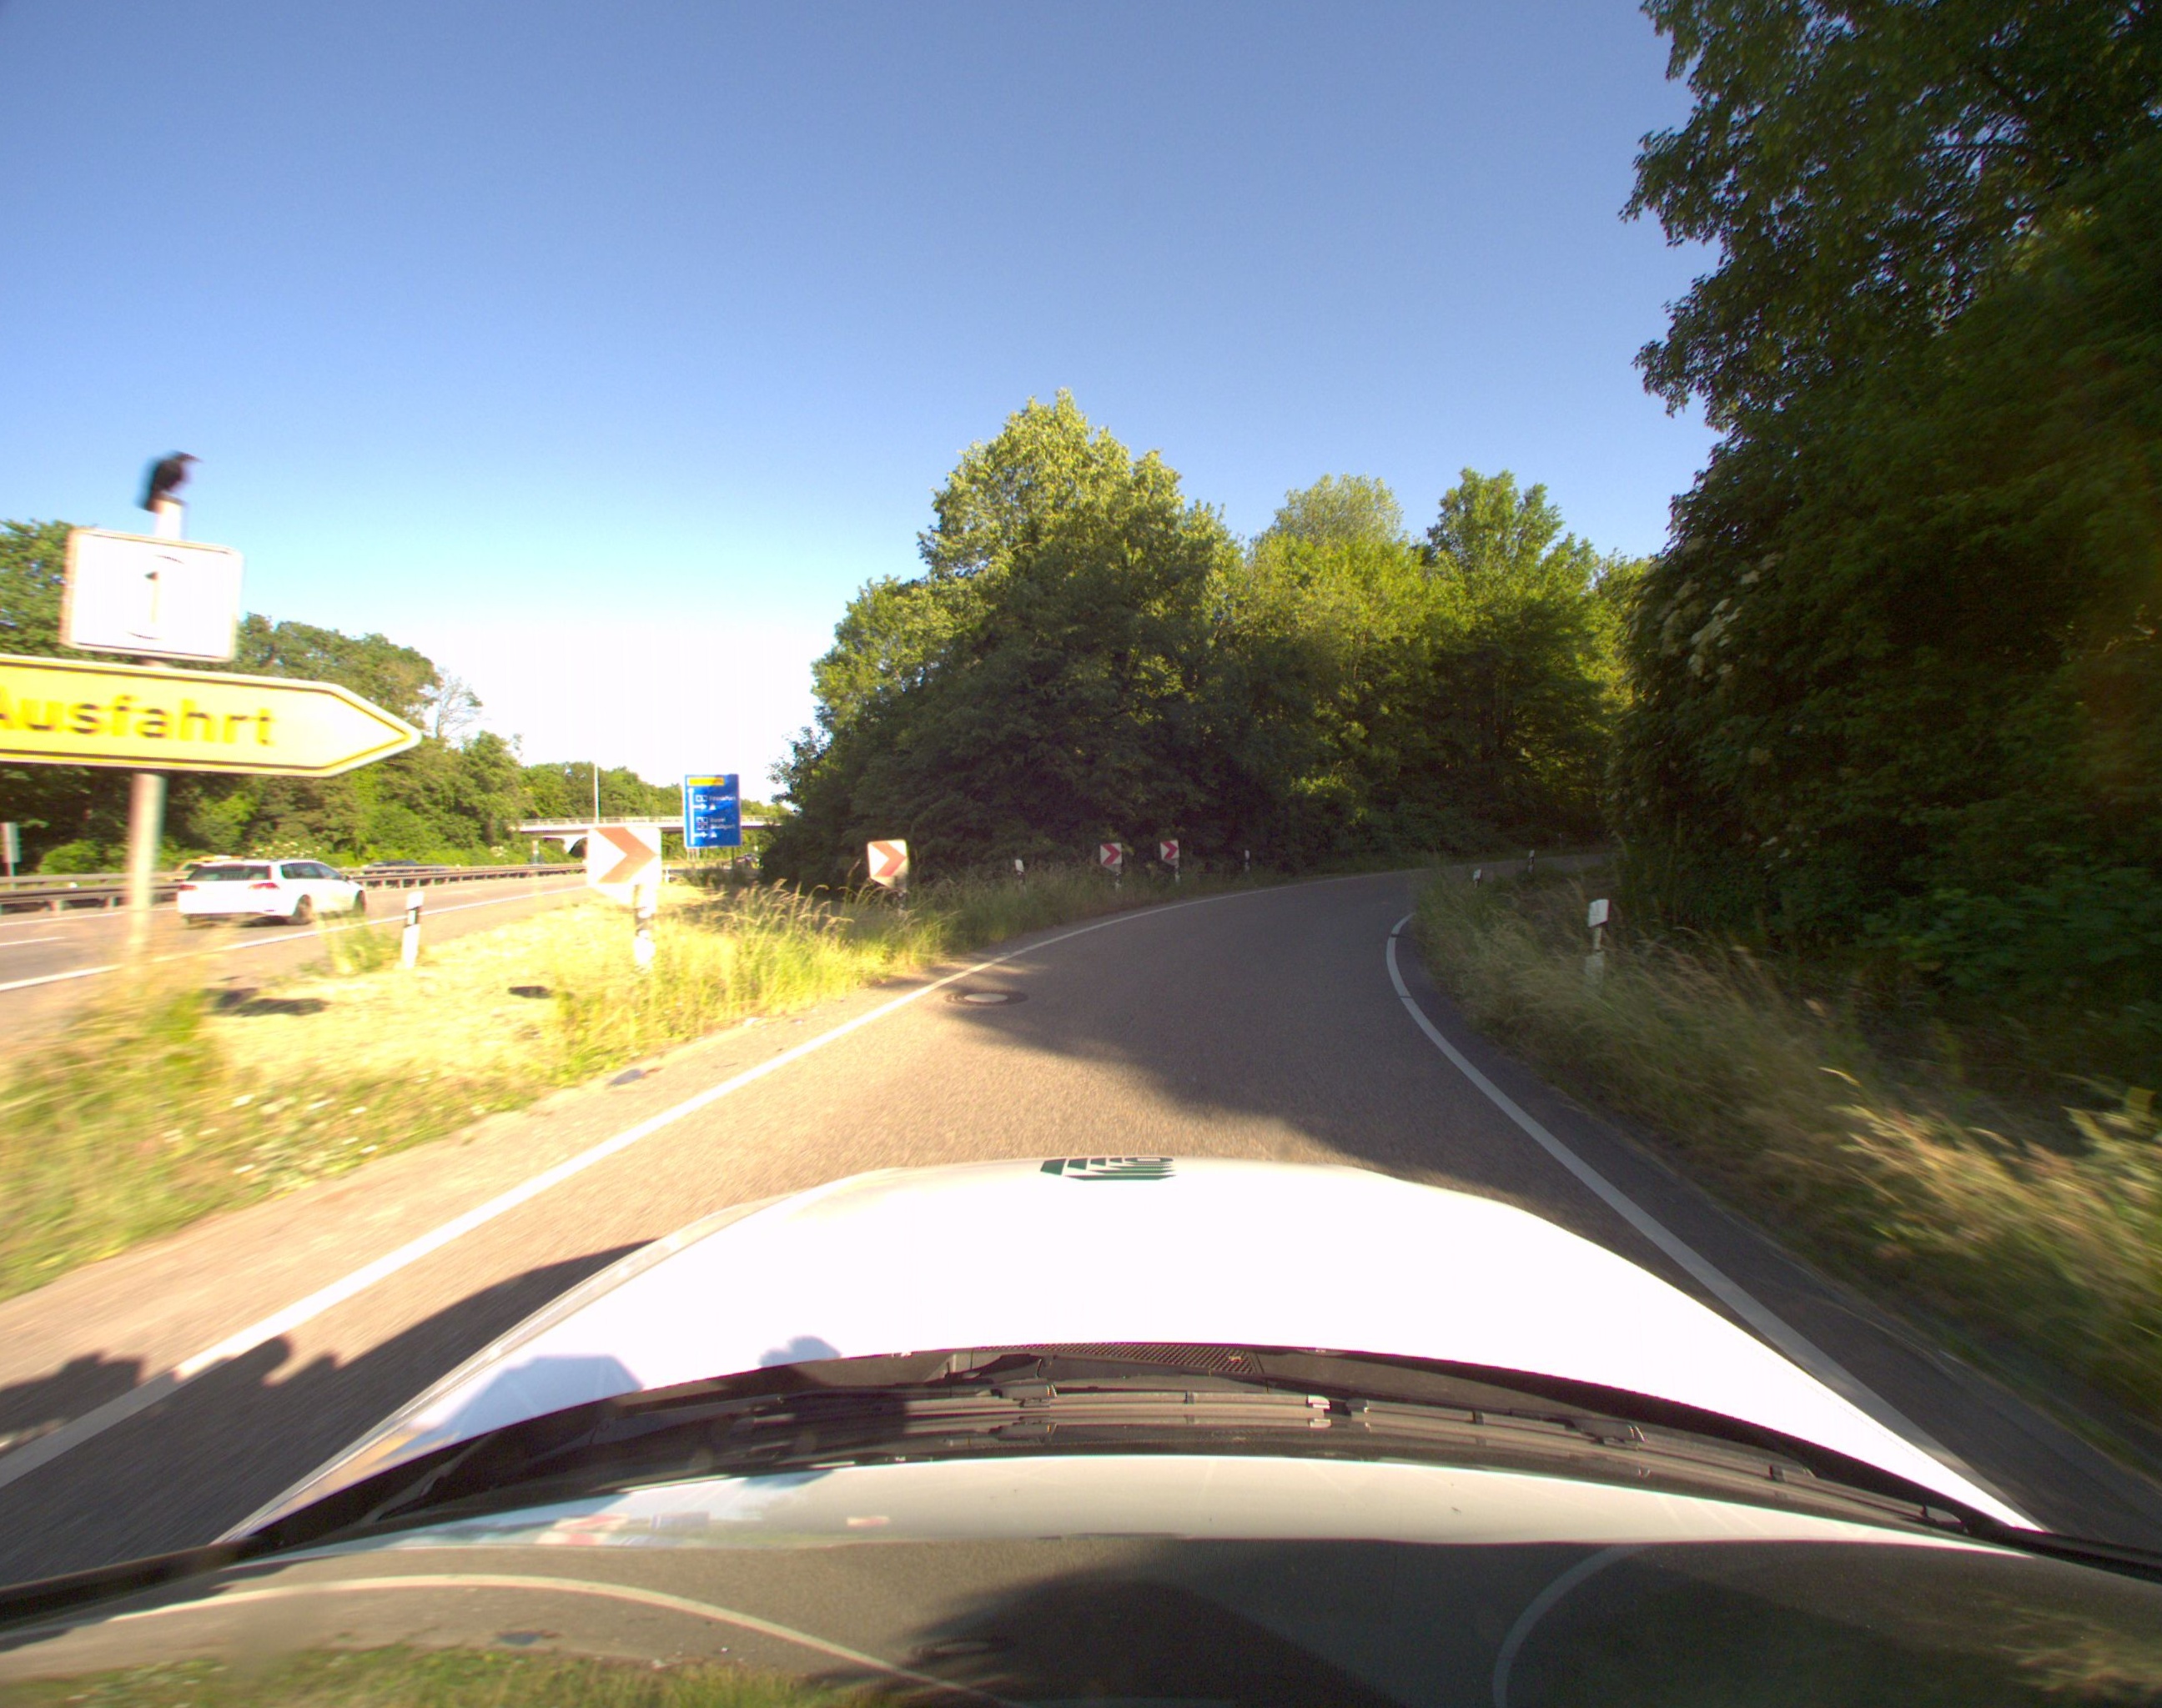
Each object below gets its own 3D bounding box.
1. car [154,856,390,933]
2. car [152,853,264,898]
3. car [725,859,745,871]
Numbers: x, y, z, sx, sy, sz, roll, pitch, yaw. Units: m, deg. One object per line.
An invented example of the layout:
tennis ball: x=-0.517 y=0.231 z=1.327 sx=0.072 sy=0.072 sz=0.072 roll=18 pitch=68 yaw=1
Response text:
car: x=-18.276 y=0.817 z=18.830 sx=1.938 sy=1.508 sz=5.555 roll=0 pitch=-1 yaw=-23
car: x=-42.393 y=1.016 z=39.685 sx=1.999 sy=2.013 sz=3.975 roll=-1 pitch=0 yaw=-18
car: x=-48.957 y=1.515 z=115.407 sx=1.740 sy=1.662 sz=3.930 roll=-1 pitch=0 yaw=-11
